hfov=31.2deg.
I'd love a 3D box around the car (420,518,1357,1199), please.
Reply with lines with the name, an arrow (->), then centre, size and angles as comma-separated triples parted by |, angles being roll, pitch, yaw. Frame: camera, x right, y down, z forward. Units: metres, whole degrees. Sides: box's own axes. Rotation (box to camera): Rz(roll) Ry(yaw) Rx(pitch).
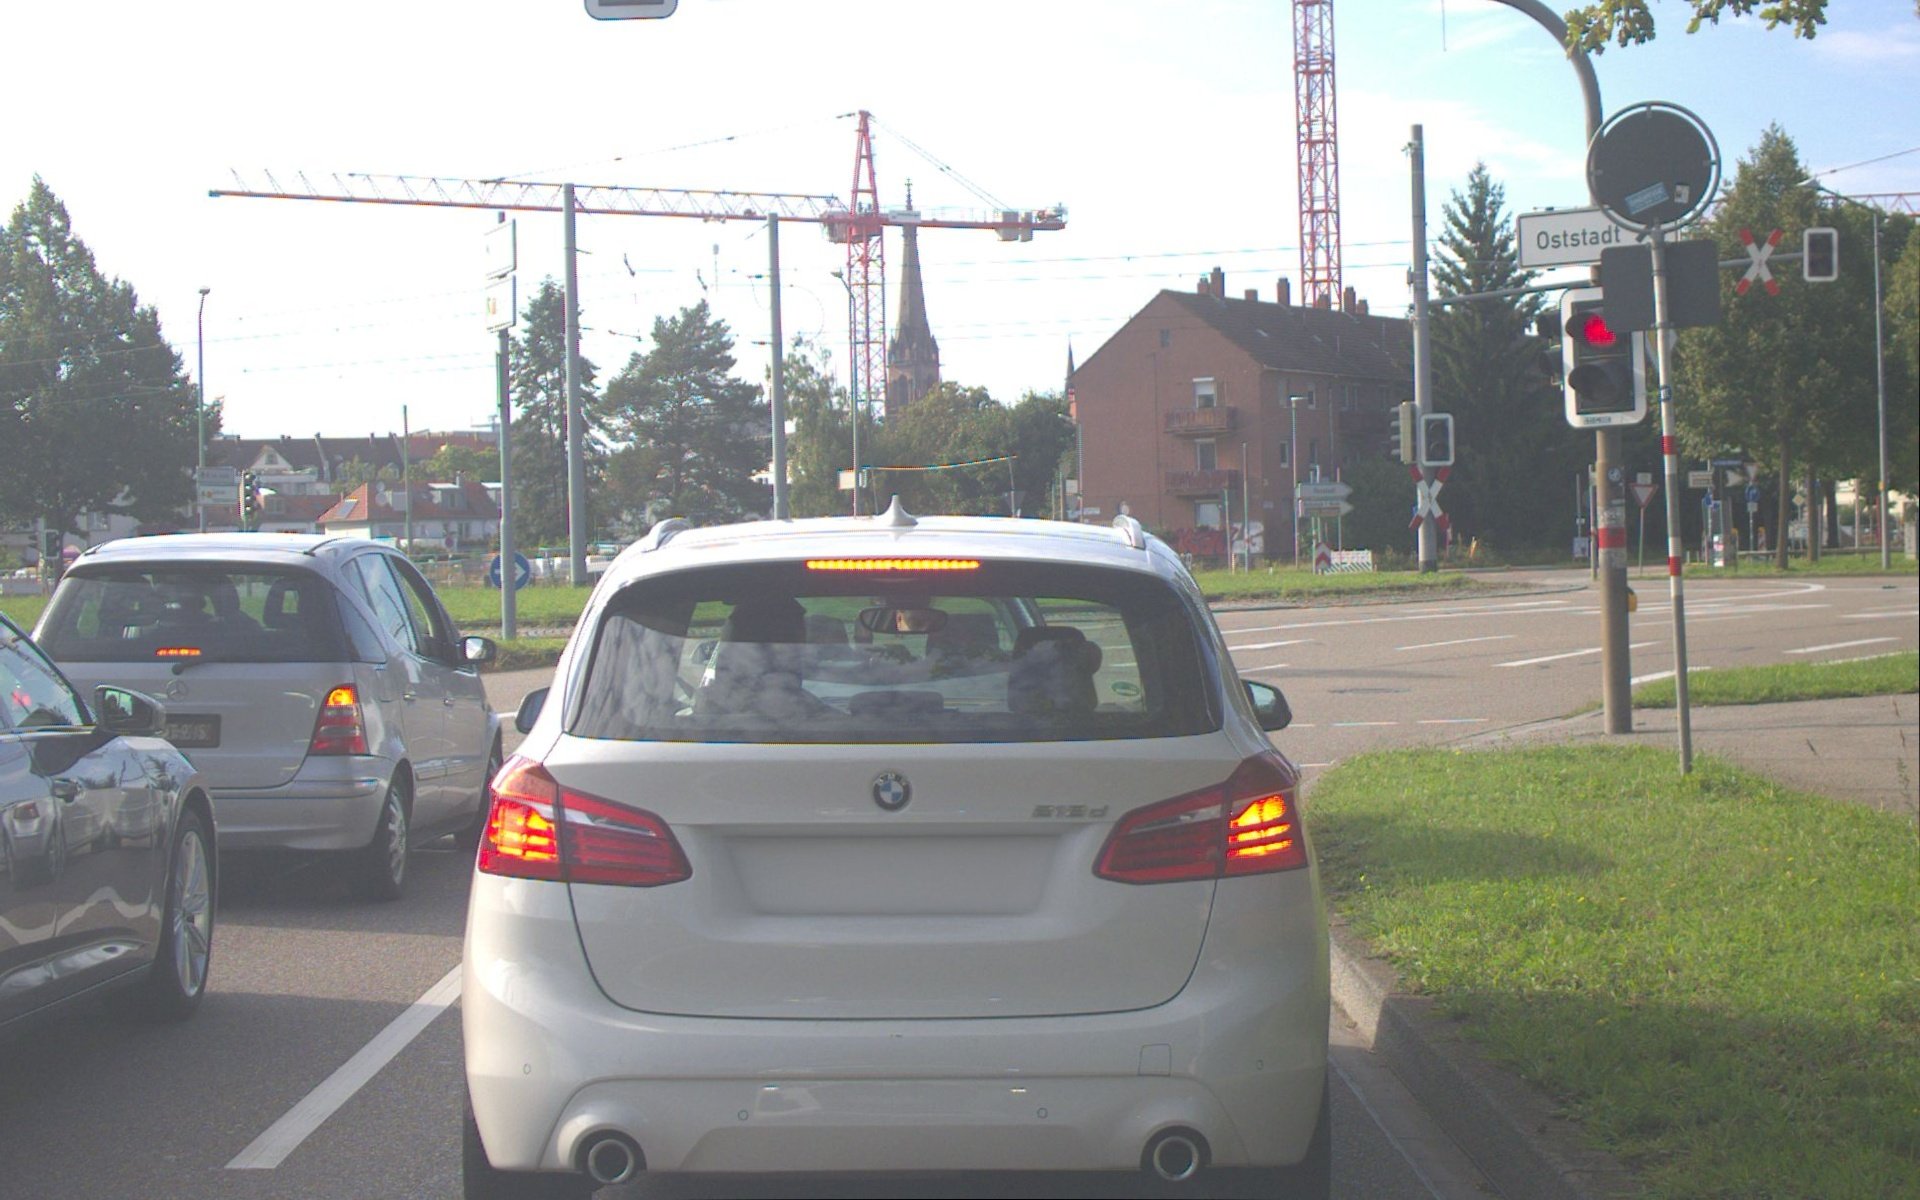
car -> -0.159, 0.590, 8.385 | 1.729, 1.553, 4.058 | 0, 1, -1

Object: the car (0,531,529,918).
car -> -3.096, 0.464, 15.838 | 1.729, 1.553, 4.058 | 0, 1, 0

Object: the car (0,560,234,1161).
car -> -3.312, 0.634, 9.042 | 1.890, 1.478, 4.613 | 0, 1, -1
